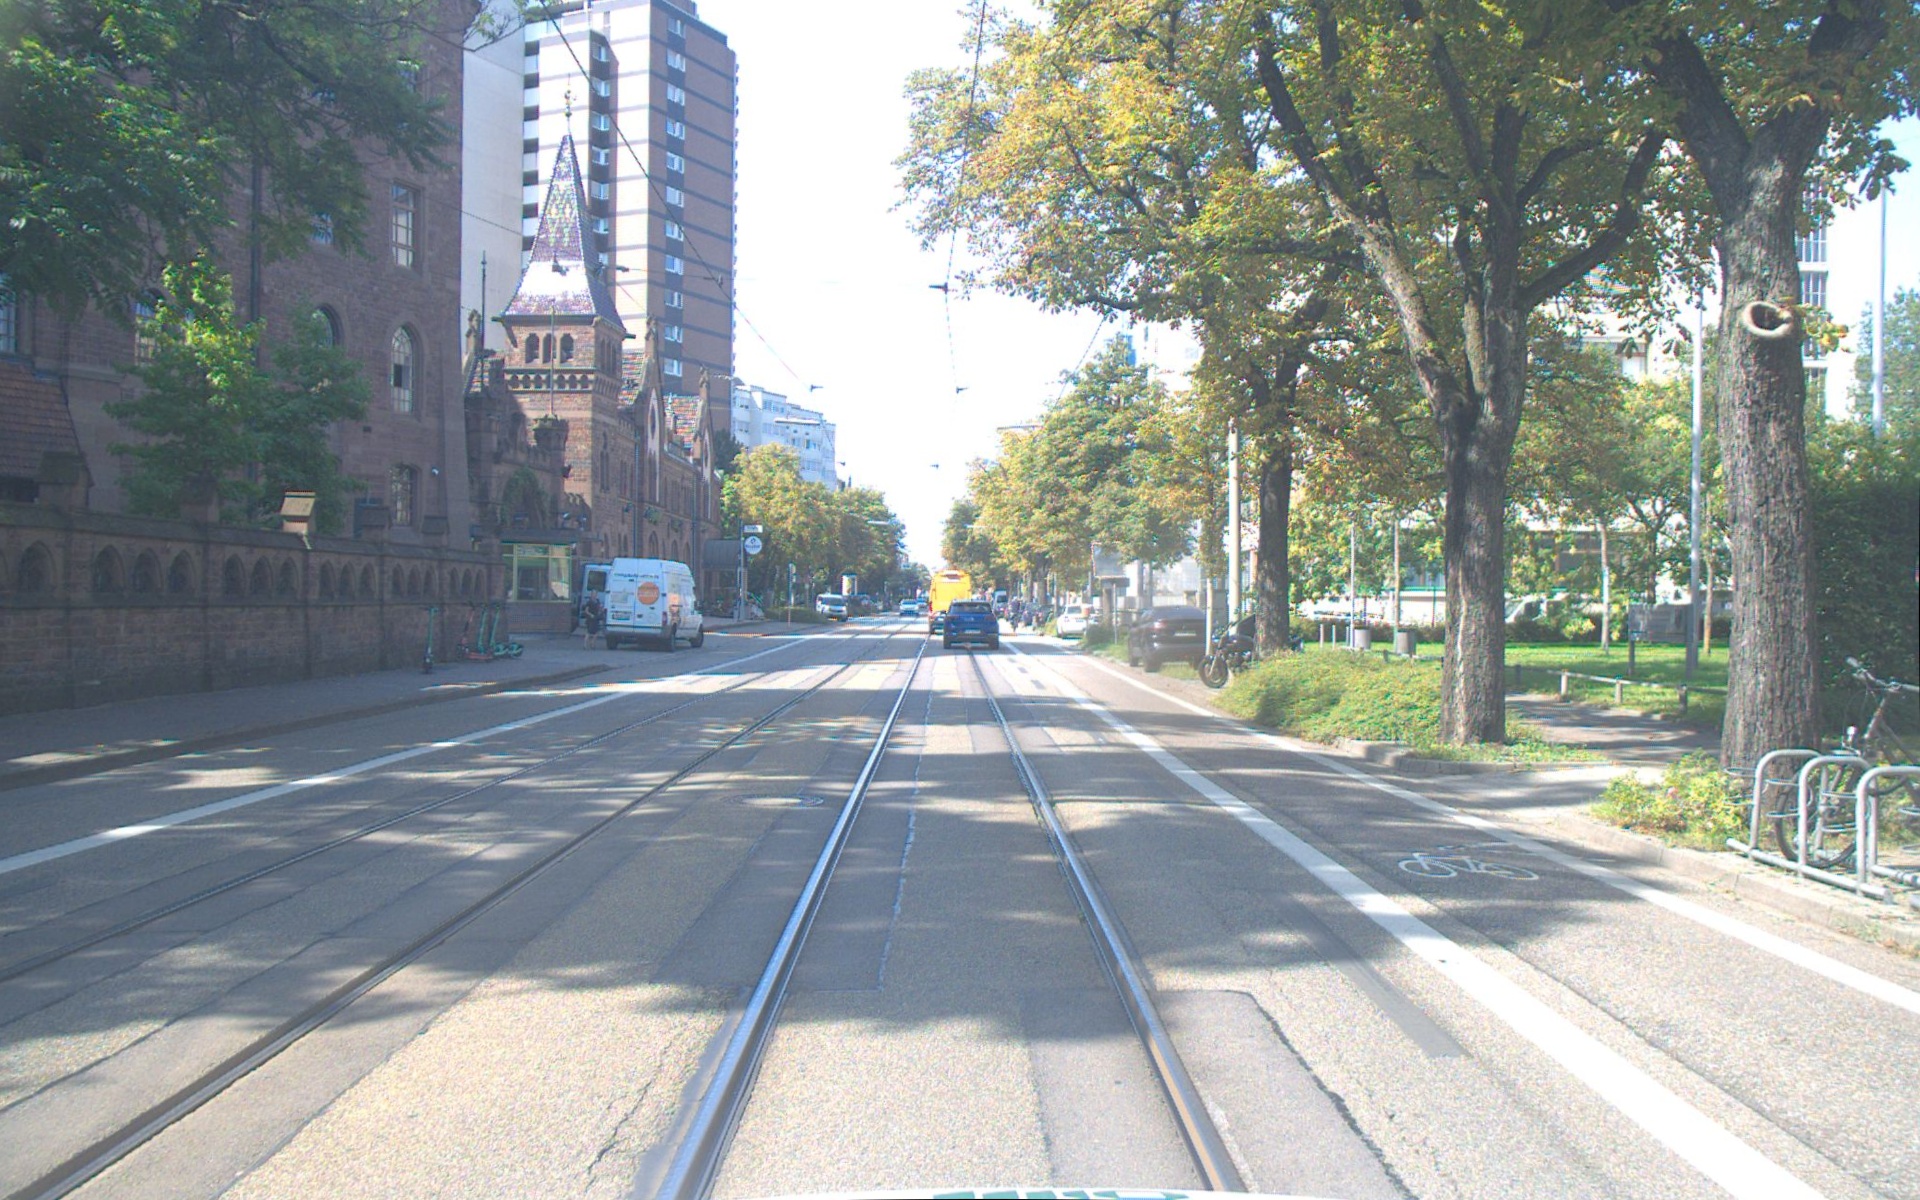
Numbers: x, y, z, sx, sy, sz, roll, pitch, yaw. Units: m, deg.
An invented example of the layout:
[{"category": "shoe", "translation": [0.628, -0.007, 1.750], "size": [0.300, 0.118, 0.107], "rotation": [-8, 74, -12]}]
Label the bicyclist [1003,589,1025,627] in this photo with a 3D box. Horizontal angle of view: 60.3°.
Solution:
[{"category": "bicyclist", "translation": [2.701, 0.404, 82.641], "size": [1.011, 1.844, 1.016], "rotation": [1, 0, -1]}]

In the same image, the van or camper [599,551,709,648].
[{"category": "van or camper", "translation": [-9.136, -0.011, 49.889], "size": [2.069, 2.722, 5.955], "rotation": [1, 0, 1]}]

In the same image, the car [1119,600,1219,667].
[{"category": "car", "translation": [5.086, 0.777, 40.782], "size": [1.720, 1.542, 4.607], "rotation": [-1, 0, -2]}]

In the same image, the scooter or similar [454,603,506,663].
[{"category": "scooter or similar", "translation": [-9.867, 0.673, 34.011], "size": [0.332, 1.199, 1.177], "rotation": [1, 0, 24]}]

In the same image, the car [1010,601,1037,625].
[{"category": "car", "translation": [4.362, 0.917, 114.681], "size": [1.600, 1.612, 4.187], "rotation": [1, 0, -2]}]

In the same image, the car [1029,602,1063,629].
[{"category": "car", "translation": [4.644, 0.859, 90.037], "size": [1.625, 1.432, 4.216], "rotation": [0, 0, 0]}]

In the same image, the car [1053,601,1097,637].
[{"category": "car", "translation": [4.965, 0.814, 71.660], "size": [1.625, 1.507, 4.216], "rotation": [0, 0, 0]}]

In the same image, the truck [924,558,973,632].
[{"category": "truck", "translation": [-0.524, -0.203, 73.598], "size": [2.092, 3.179, 6.084], "rotation": [0, 0, 0]}]

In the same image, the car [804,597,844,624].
[{"category": "car", "translation": [-9.743, 0.728, 118.194], "size": [1.723, 1.828, 3.972], "rotation": [1, 0, -23]}]

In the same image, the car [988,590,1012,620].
[{"category": "car", "translation": [3.778, 0.470, 155.882], "size": [1.953, 2.804, 5.759], "rotation": [1, 0, -2]}]

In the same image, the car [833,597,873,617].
[{"category": "car", "translation": [-11.233, 0.701, 174.304], "size": [3.969, 2.049, 1.827], "rotation": [1, 0, -44]}]

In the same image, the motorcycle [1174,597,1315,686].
[{"category": "motorcycle", "translation": [5.157, 0.735, 30.117], "size": [2.408, 1.542, 0.849], "rotation": [1, 0, 38]}]

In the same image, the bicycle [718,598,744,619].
[{"category": "bicycle", "translation": [-13.528, 0.497, 97.633], "size": [1.423, 1.112, 0.399], "rotation": [4, -1, -5]}]

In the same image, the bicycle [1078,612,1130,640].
[{"category": "bicycle", "translation": [5.122, 0.923, 58.903], "size": [1.775, 0.975, 0.558], "rotation": [1, 0, -1]}]

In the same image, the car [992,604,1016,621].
[{"category": "car", "translation": [3.873, 1.071, 145.287], "size": [1.869, 1.457, 4.291], "rotation": [1, 0, -2]}]

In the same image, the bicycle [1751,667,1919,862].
[{"category": "bicycle", "translation": [5.610, 0.940, 9.651], "size": [1.735, 1.068, 0.540], "rotation": [0, 0, -2]}]

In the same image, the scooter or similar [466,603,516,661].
[{"category": "scooter or similar", "translation": [-9.965, 0.672, 35.181], "size": [0.332, 1.199, 1.177], "rotation": [1, 0, 24]}]

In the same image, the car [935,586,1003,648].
[{"category": "car", "translation": [0.255, 0.534, 53.714], "size": [2.092, 1.891, 5.567], "rotation": [0, 0, 0]}]

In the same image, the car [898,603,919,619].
[{"category": "car", "translation": [-4.919, 1.002, 157.354], "size": [1.809, 1.518, 4.867], "rotation": [0, 0, 0]}]

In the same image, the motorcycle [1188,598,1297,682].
[{"category": "motorcycle", "translation": [5.403, 0.740, 31.821], "size": [0.839, 1.542, 2.436], "rotation": [1, 0, -25]}]

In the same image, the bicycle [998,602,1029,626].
[{"category": "bicycle", "translation": [2.662, 0.695, 82.676], "size": [1.373, 1.154, 3.999], "rotation": [1, 0, -1]}]

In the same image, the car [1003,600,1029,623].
[{"category": "car", "translation": [4.189, 0.879, 124.772], "size": [1.705, 1.697, 4.360], "rotation": [1, 0, -2]}]

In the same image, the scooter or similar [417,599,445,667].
[{"category": "scooter or similar", "translation": [-9.501, 0.584, 29.714], "size": [0.413, 1.199, 1.311], "rotation": [1, 0, -16]}]

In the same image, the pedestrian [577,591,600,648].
[{"category": "pedestrian", "translation": [-10.568, 0.553, 46.999], "size": [0.491, 1.627, 0.547], "rotation": [1, 0, -27]}]

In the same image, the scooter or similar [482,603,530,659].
[{"category": "scooter or similar", "translation": [-9.960, 0.673, 36.315], "size": [0.332, 1.199, 1.177], "rotation": [1, 0, 24]}]

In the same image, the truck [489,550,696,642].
[{"category": "truck", "translation": [-12.099, -0.148, 54.698], "size": [6.189, 2.582, 2.132], "rotation": [4, 1, 4]}]

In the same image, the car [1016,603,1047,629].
[{"category": "car", "translation": [4.357, 0.986, 101.582], "size": [1.707, 1.583, 4.216], "rotation": [0, 0, 0]}]

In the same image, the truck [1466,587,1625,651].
[{"category": "truck", "translation": [22.798, 0.717, 64.588], "size": [5.393, 2.366, 2.299], "rotation": [1, 0, 1]}]
